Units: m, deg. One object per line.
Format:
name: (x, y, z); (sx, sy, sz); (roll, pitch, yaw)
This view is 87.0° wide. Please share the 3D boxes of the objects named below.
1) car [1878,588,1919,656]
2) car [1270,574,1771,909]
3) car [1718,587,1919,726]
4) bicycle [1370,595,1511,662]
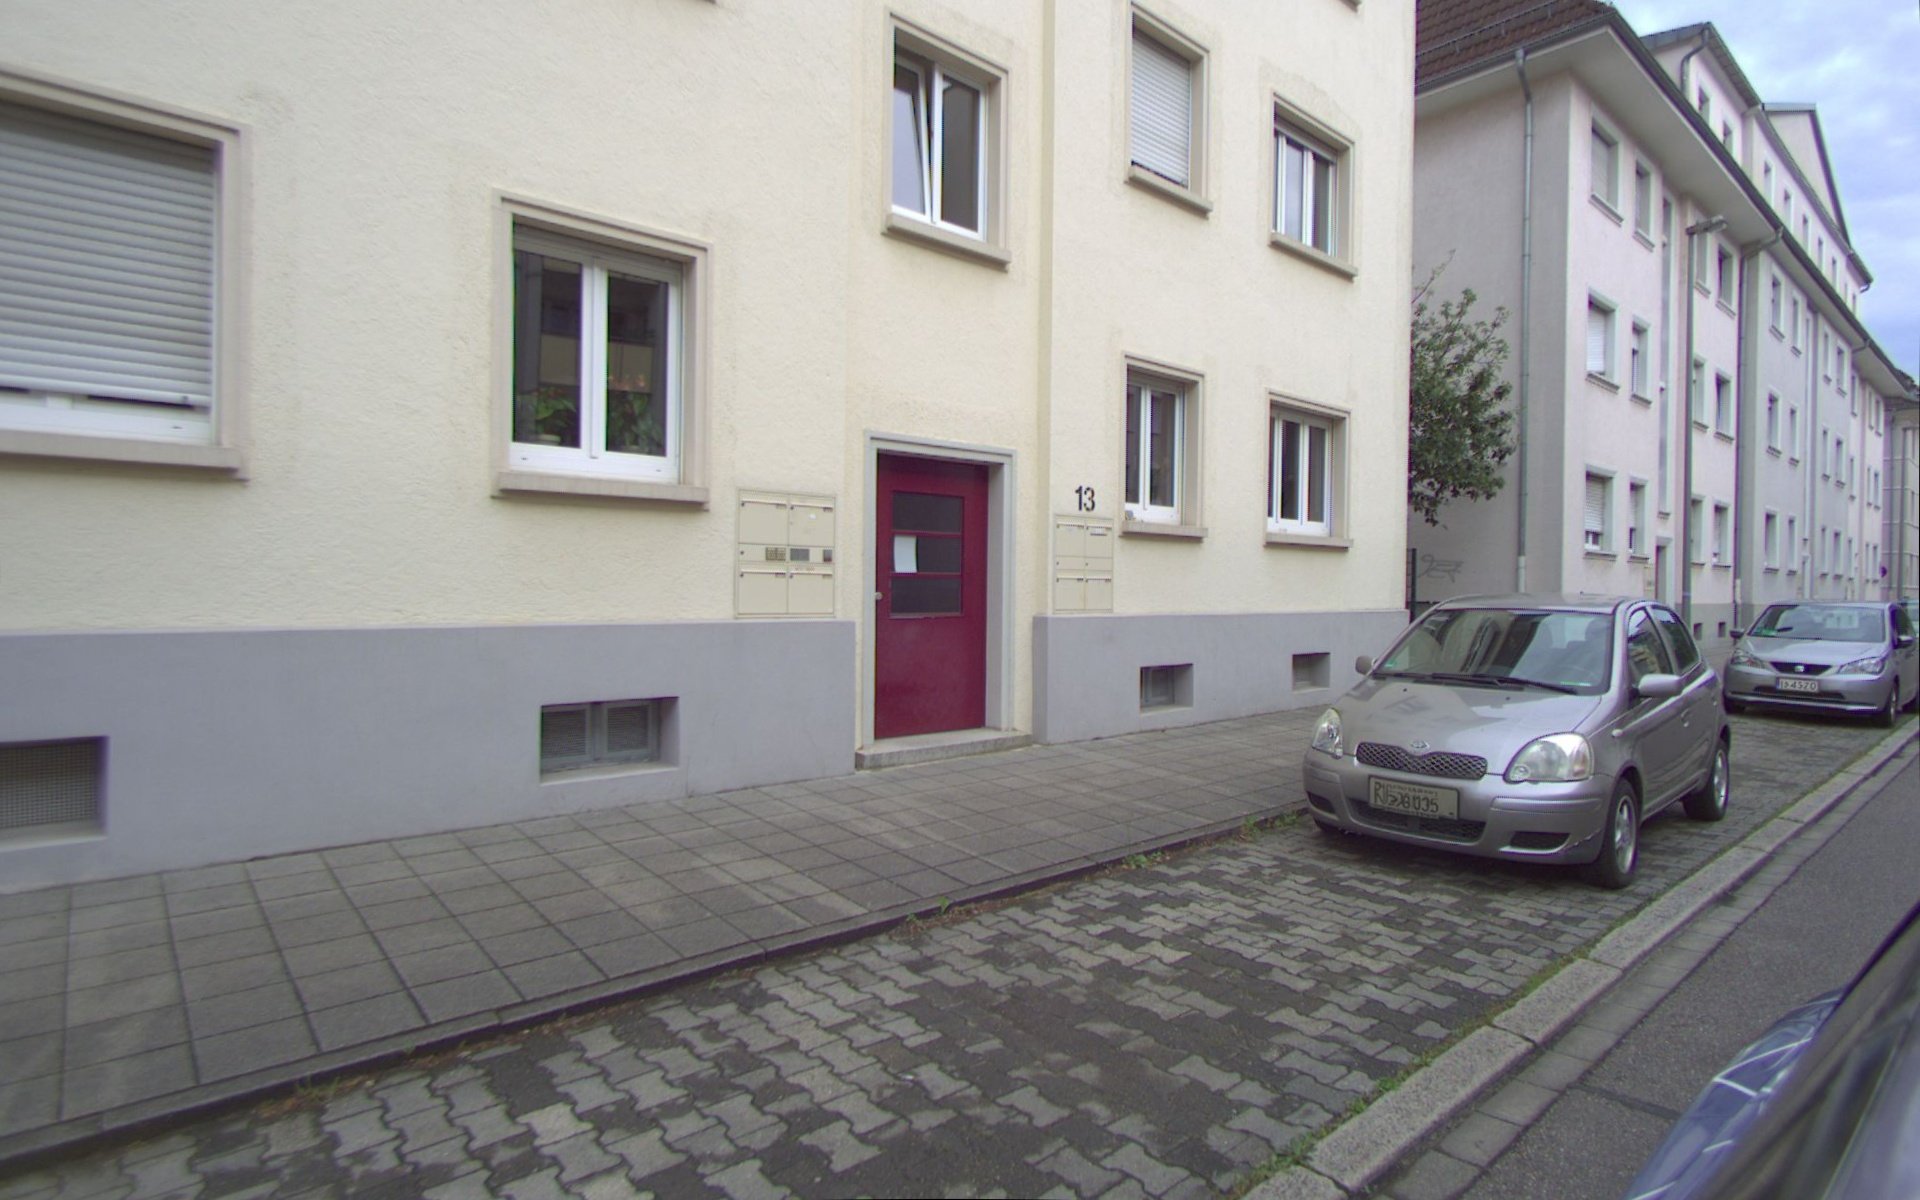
car: (22.886, 0.493, 23.621); (4.191, 1.487, 1.728); (0, 2, -42)
car: (3.875, 0.628, 6.680); (3.992, 1.536, 1.727); (0, 2, -43)
car: (11.397, 0.606, 13.144); (3.991, 1.510, 1.728); (0, 1, -42)
bicycle: (8.588, 0.477, 18.193); (0.637, 1.090, 2.211); (0, 1, -42)
